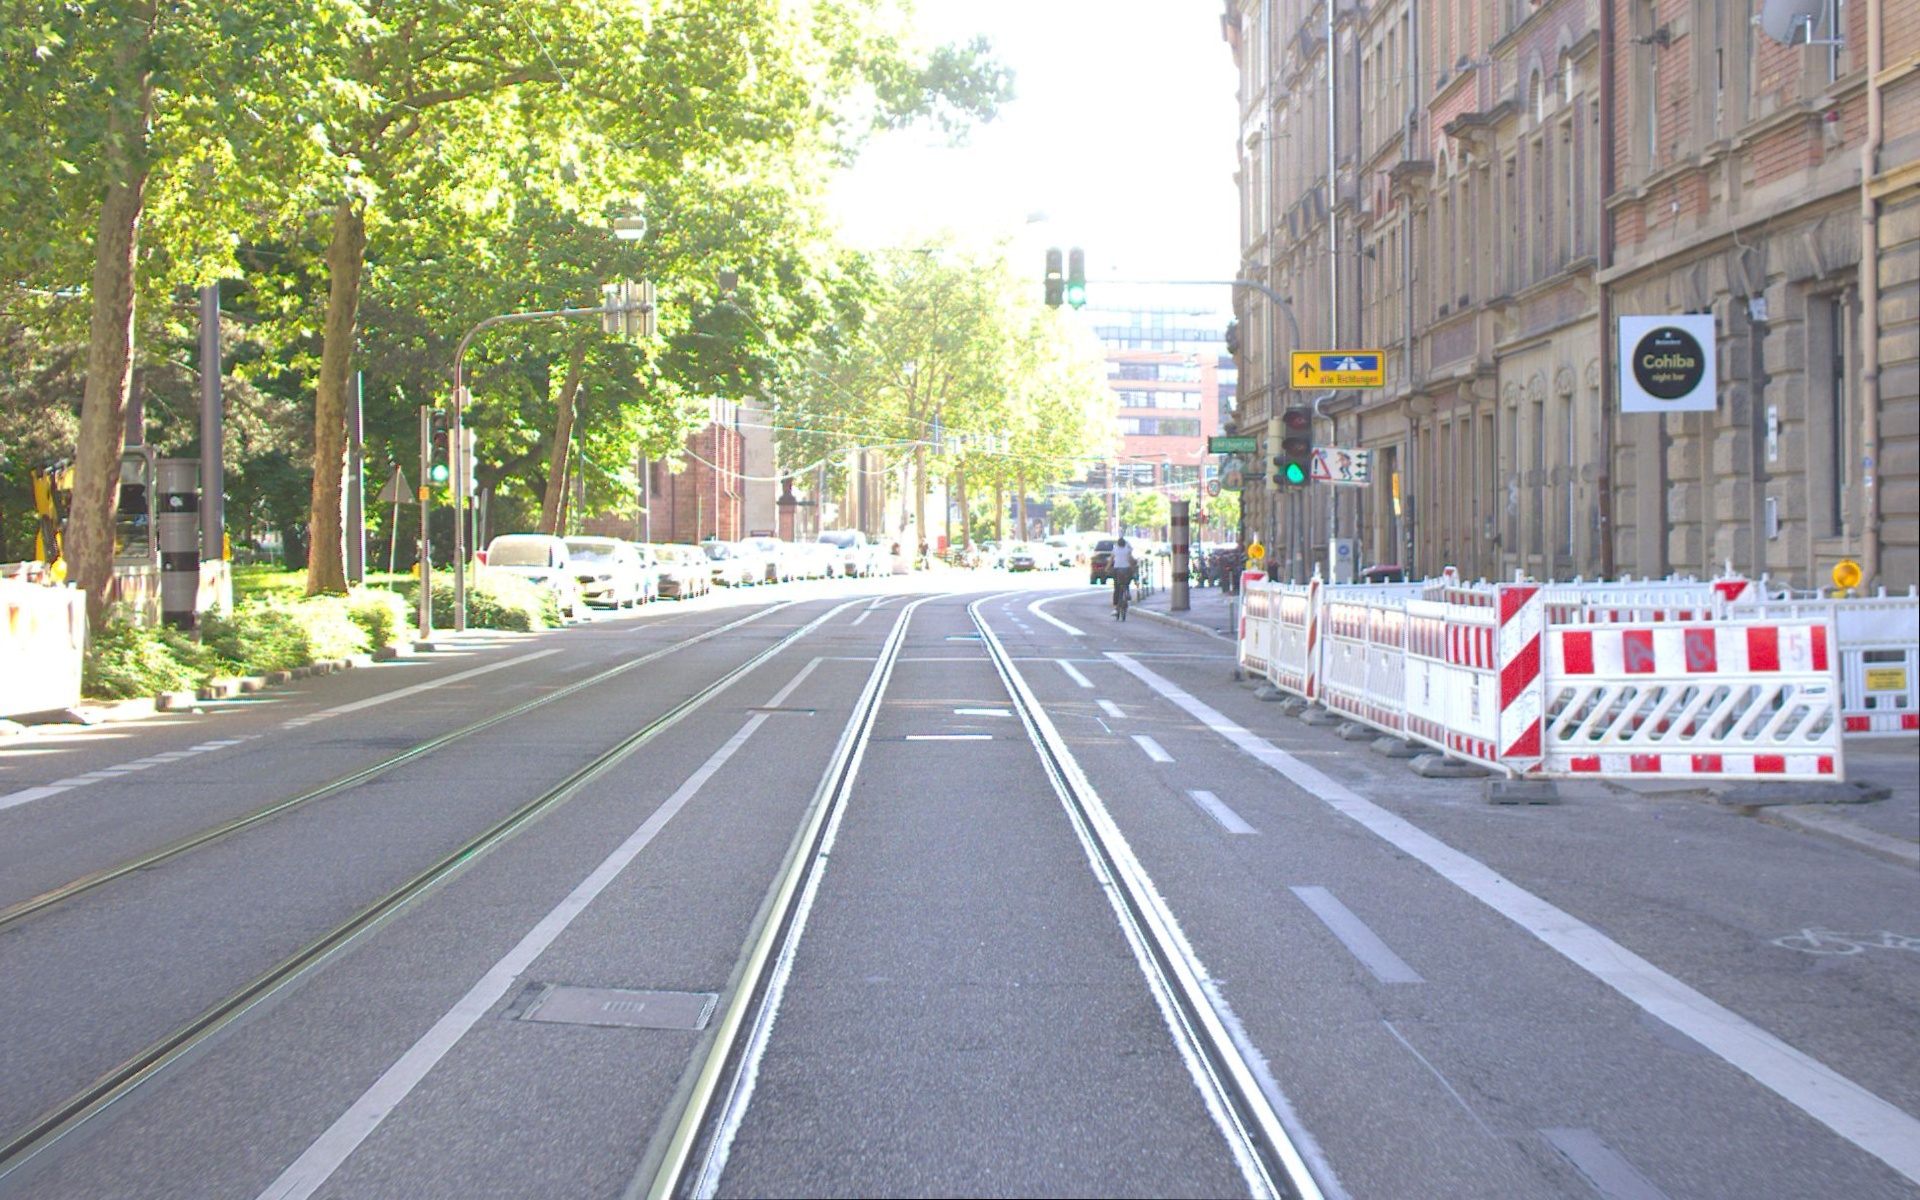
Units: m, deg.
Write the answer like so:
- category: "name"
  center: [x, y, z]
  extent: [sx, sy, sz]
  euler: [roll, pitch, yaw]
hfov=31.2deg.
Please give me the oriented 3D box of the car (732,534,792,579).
- category: "car"
  center: [-7.263, -1.577, 126.439]
  extent: [1.748, 1.581, 4.043]
  euler: [2, 1, 2]

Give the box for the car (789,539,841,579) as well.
- category: "car"
  center: [-5.967, -1.694, 141.701]
  extent: [1.748, 1.581, 4.043]
  euler: [2, 1, 2]

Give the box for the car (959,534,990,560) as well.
- category: "car"
  center: [0.954, -3.520, 228.567]
  extent: [1.748, 1.619, 4.043]
  euler: [2, 1, 4]

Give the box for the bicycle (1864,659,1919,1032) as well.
- category: "bicycle"
  center: [3.269, 0.774, 9.669]
  extent: [0.681, 1.110, 2.707]
  euler: [2, 1, -1]

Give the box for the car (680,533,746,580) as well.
- category: "car"
  center: [-8.308, -1.454, 115.937]
  extent: [1.748, 1.490, 4.043]
  euler: [2, 1, 2]

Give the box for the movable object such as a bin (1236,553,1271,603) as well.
- category: "movable object such as a bin"
  center: [6.160, -0.466, 72.144]
  extent: [0.673, 1.032, 0.813]
  euler: [0, 2, 0]

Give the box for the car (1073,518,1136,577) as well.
- category: "car"
  center: [5.093, -1.844, 121.530]
  extent: [1.993, 2.007, 4.000]
  euler: [2, 1, 0]

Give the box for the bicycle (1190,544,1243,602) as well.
- category: "bicycle"
  center: [6.968, -0.731, 93.195]
  extent: [0.971, 1.510, 3.244]
  euler: [2, 1, 12]

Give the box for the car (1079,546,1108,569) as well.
- category: "car"
  center: [8.704, -2.768, 223.907]
  extent: [1.748, 1.417, 4.043]
  euler: [2, 1, 4]

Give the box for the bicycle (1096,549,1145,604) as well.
- category: "bicycle"
  center: [3.283, -0.484, 70.408]
  extent: [0.856, 1.084, 2.487]
  euler: [2, 1, 0]

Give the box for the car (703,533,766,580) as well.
- category: "car"
  center: [-7.923, -1.540, 121.001]
  extent: [1.748, 1.581, 4.043]
  euler: [2, 1, 2]

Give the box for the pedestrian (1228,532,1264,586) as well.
- category: "pedestrian"
  center: [9.478, -1.350, 114.081]
  extent: [1.055, 1.754, 1.332]
  euler: [2, 0, 0]

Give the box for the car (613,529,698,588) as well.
- category: "car"
  center: [-8.210, -1.115, 92.991]
  extent: [1.748, 1.504, 4.043]
  euler: [2, 1, 2]

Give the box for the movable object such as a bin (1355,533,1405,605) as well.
- category: "movable object such as a bin"
  center: [6.591, -0.488, 53.959]
  extent: [0.620, 1.106, 0.781]
  euler: [2, 0, -3]

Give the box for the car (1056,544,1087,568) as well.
- category: "car"
  center: [6.887, -2.692, 212.063]
  extent: [1.748, 1.417, 4.043]
  euler: [2, 1, 4]

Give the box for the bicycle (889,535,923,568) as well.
- category: "bicycle"
  center: [-2.599, -2.357, 166.844]
  extent: [1.234, 1.567, 2.896]
  euler: [2, 1, 7]

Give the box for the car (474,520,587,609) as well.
- category: "car"
  center: [-8.349, -0.695, 67.083]
  extent: [1.545, 1.653, 3.762]
  euler: [2, 1, 2]

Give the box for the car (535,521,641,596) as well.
- category: "car"
  center: [-8.352, -0.928, 77.404]
  extent: [1.748, 1.602, 4.043]
  euler: [2, 1, 2]

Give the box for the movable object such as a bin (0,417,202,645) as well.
- category: "movable object such as a bin"
  center: [-11.315, -0.878, 43.165]
  extent: [2.495, 2.636, 5.990]
  euler: [2, 1, -3]

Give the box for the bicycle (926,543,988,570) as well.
- category: "bicycle"
  center: [-0.140, -2.148, 169.630]
  extent: [2.889, 1.227, 0.883]
  euler: [2, 0, 11]

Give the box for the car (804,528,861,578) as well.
- category: "car"
  center: [-5.431, -1.989, 146.726]
  extent: [2.058, 2.045, 4.043]
  euler: [2, 1, 2]

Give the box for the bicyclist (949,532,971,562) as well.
- category: "bicyclist"
  center: [-0.019, -2.602, 169.596]
  extent: [0.899, 1.423, 1.052]
  euler: [2, 0, 9]

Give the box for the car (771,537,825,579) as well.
- category: "car"
  center: [-6.405, -1.654, 136.510]
  extent: [1.748, 1.581, 4.043]
  euler: [2, 1, 2]

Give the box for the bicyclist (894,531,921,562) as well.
- category: "bicyclist"
  center: [-2.544, -2.595, 166.801]
  extent: [1.078, 1.423, 1.146]
  euler: [2, 0, 8]

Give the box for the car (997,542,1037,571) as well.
- category: "car"
  center: [2.916, -2.194, 174.674]
  extent: [1.748, 1.417, 4.043]
  euler: [2, 1, 4]

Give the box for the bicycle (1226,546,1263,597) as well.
- category: "bicycle"
  center: [6.483, -0.654, 78.474]
  extent: [0.639, 1.114, 2.297]
  euler: [2, 1, 0]

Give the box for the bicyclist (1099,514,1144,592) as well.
- category: "bicyclist"
  center: [3.303, -0.964, 70.392]
  extent: [0.838, 1.552, 0.965]
  euler: [2, 0, -1]
